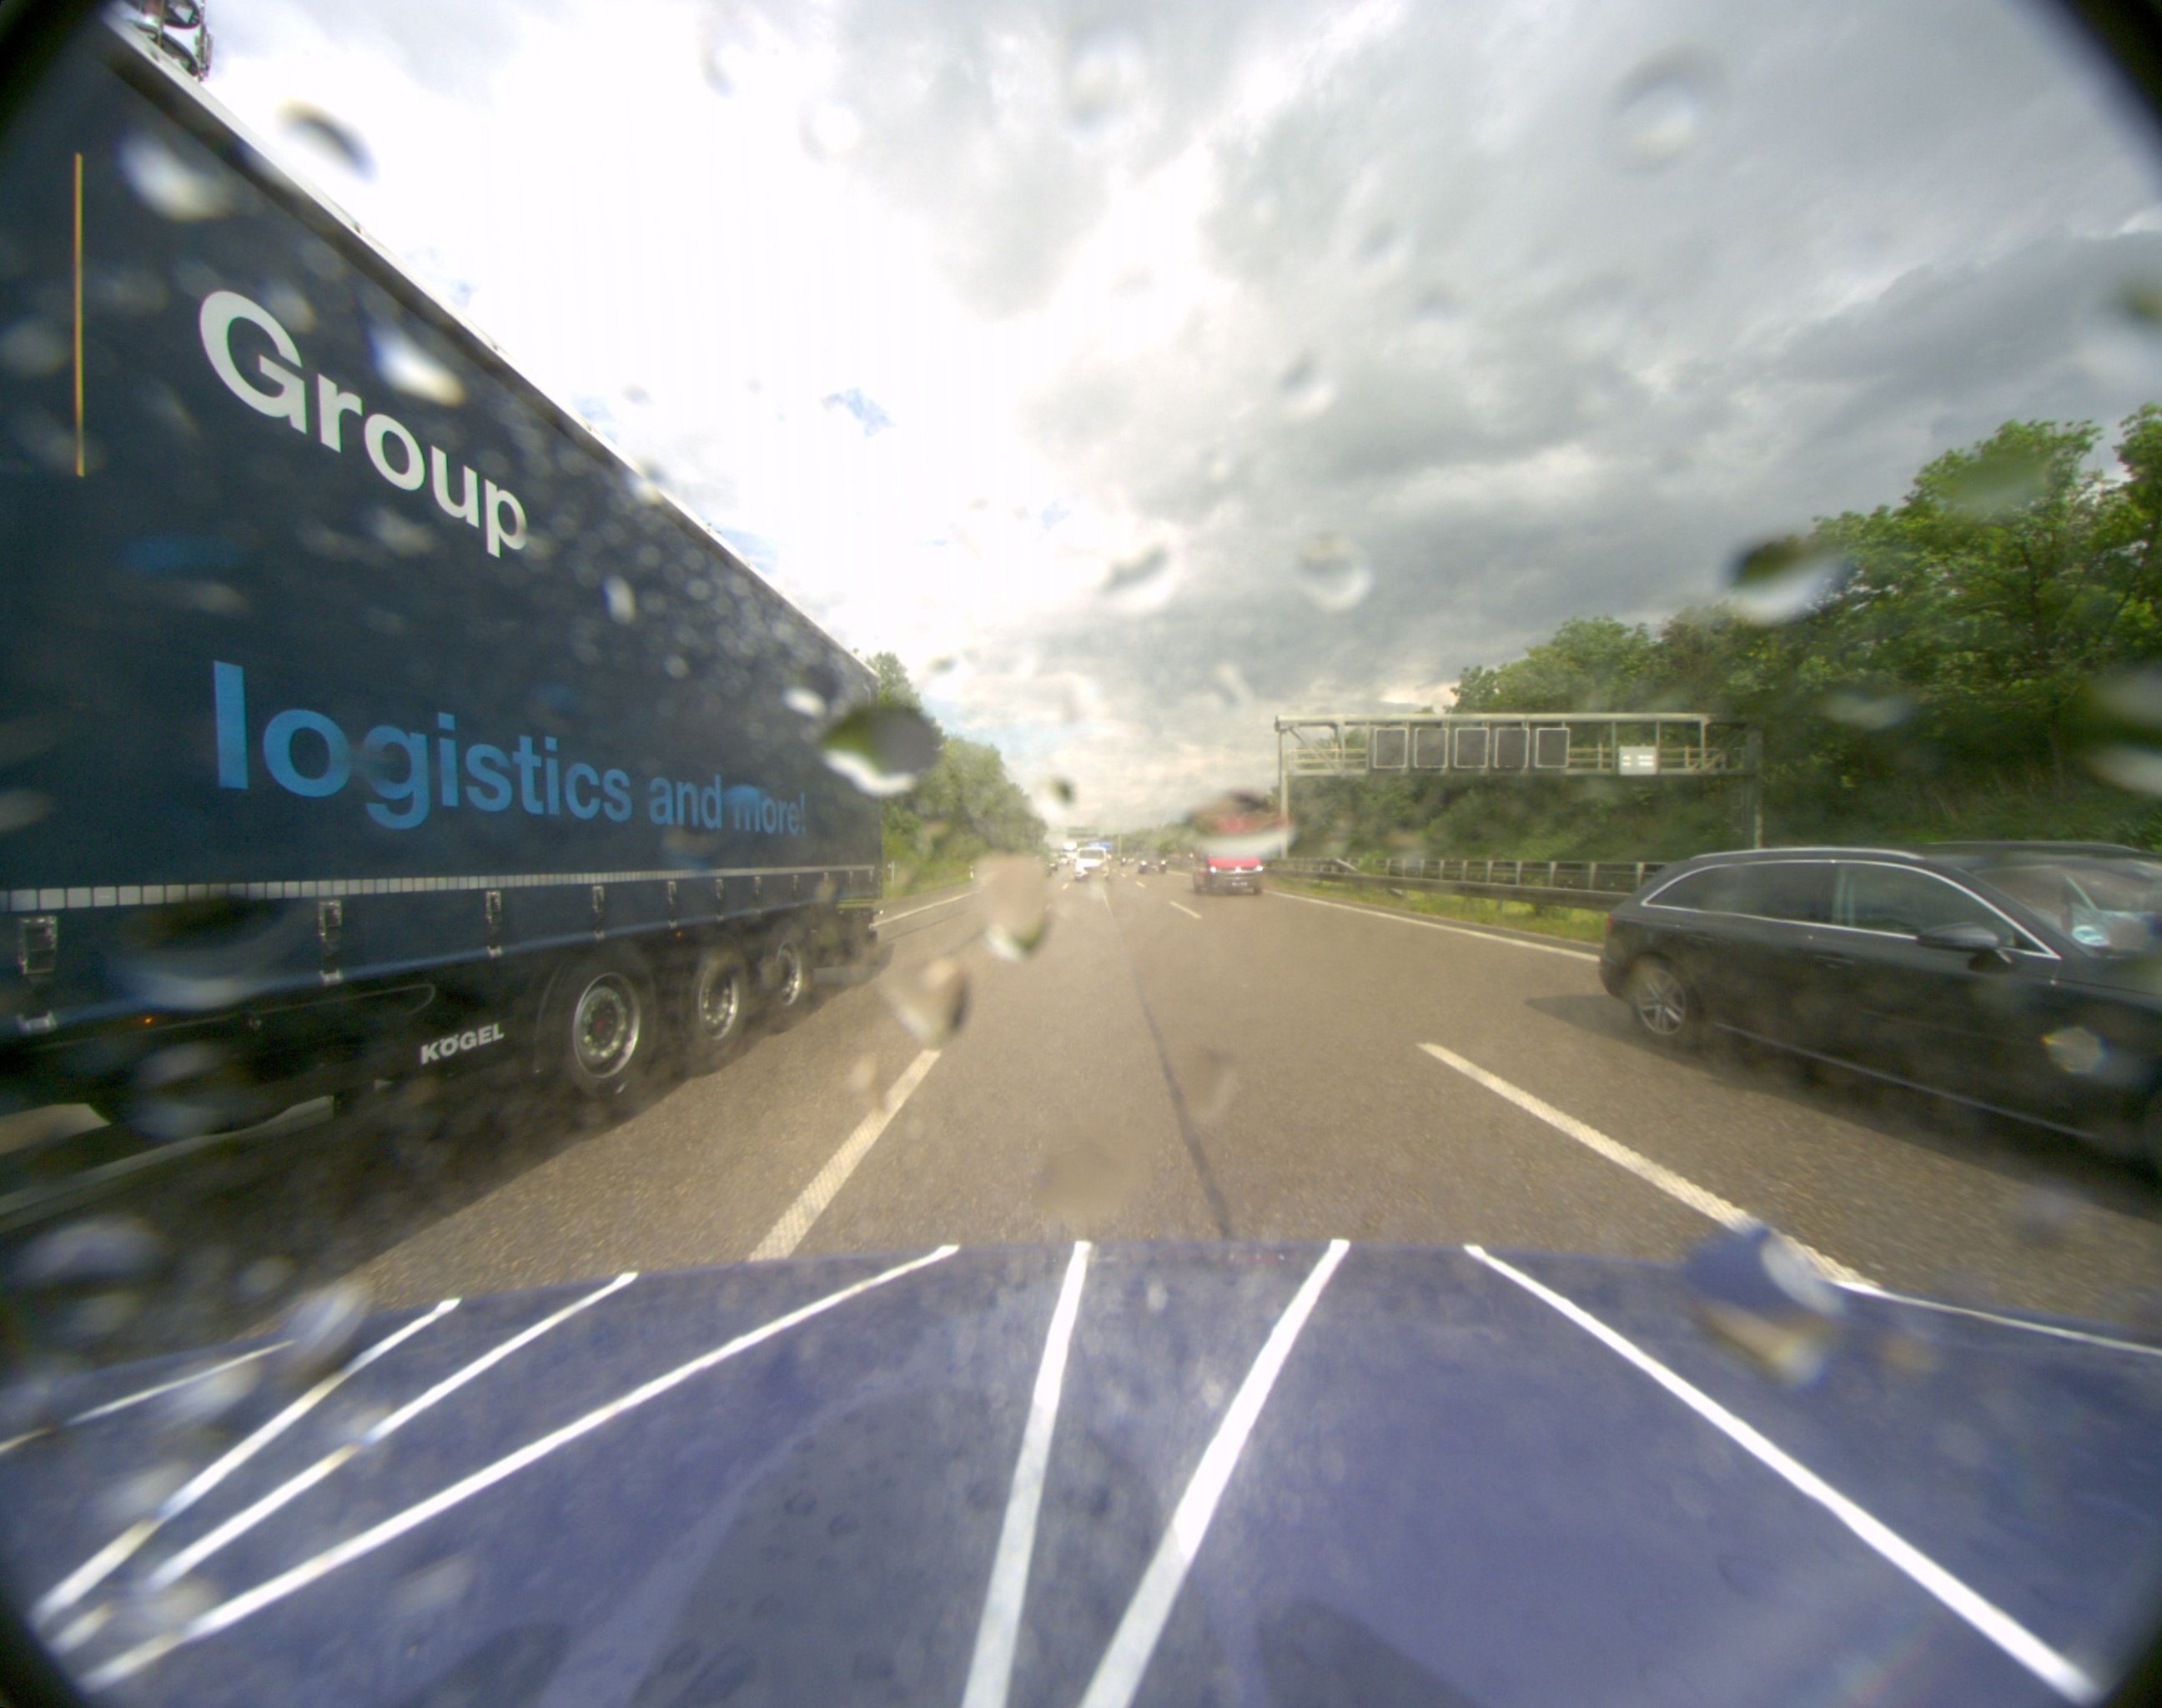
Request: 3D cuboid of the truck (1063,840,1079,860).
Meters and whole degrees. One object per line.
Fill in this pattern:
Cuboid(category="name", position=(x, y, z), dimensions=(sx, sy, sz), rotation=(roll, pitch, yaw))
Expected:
Cuboid(category="truck", position=(-1.939, -0.710, 152.043), dimensions=(3.064, 3.827, 8.799), rotation=(0, 0, 0))

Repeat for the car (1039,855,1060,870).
Cuboid(category="car", position=(-3.351, 0.859, 81.463), dimensions=(1.798, 1.410, 4.839), rotation=(-2, 1, 1))

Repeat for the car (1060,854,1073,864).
Cuboid(category="car", position=(-2.166, 0.683, 115.047), dimensions=(1.798, 1.410, 4.839), rotation=(-2, 1, 1))

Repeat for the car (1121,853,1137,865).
Cuboid(category="car", position=(6.252, 0.681, 98.908), dimensions=(1.798, 1.410, 4.839), rotation=(-2, 1, 1))

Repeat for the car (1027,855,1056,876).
Cuboid(category="car", position=(-2.960, 0.853, 58.150), dimensions=(1.798, 1.410, 4.839), rotation=(-2, 1, 1))

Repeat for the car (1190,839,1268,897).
Cuboid(category="car", position=(5.223, 0.445, 27.448), dimensions=(1.926, 1.855, 4.839), rotation=(-2, 1, 1))

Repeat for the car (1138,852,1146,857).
Cuboid(category="car", position=(15.457, 0.140, 192.140), dimensions=(1.830, 1.121, 4.000), rotation=(-2, 1, 1))

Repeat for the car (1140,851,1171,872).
Cuboid(category="car", position=(5.763, 0.521, 59.009), dimensions=(2.009, 1.488, 4.839), rotation=(-2, 1, 1))

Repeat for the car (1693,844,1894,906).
Cuboid(category="car", position=(21.603, 0.570, 23.346), dimensions=(1.833, 1.653, 4.630), rotation=(-2, 1, 0))

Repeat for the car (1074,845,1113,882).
Cuboid(category="car", position=(0.772, 0.516, 45.067), dimensions=(2.124, 1.988, 5.982), rotation=(-2, 1, 1))

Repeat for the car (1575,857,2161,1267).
Cuboid(category="car", position=(4.916, 0.788, 3.814), dimensions=(1.798, 1.410, 4.839), rotation=(-2, 1, 1))

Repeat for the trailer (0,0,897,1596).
Cuboid(category="trailer", position=(-3.895, -0.217, 2.832), dimensions=(2.641, 3.972, 14.063), rotation=(-2, 1, 1))
